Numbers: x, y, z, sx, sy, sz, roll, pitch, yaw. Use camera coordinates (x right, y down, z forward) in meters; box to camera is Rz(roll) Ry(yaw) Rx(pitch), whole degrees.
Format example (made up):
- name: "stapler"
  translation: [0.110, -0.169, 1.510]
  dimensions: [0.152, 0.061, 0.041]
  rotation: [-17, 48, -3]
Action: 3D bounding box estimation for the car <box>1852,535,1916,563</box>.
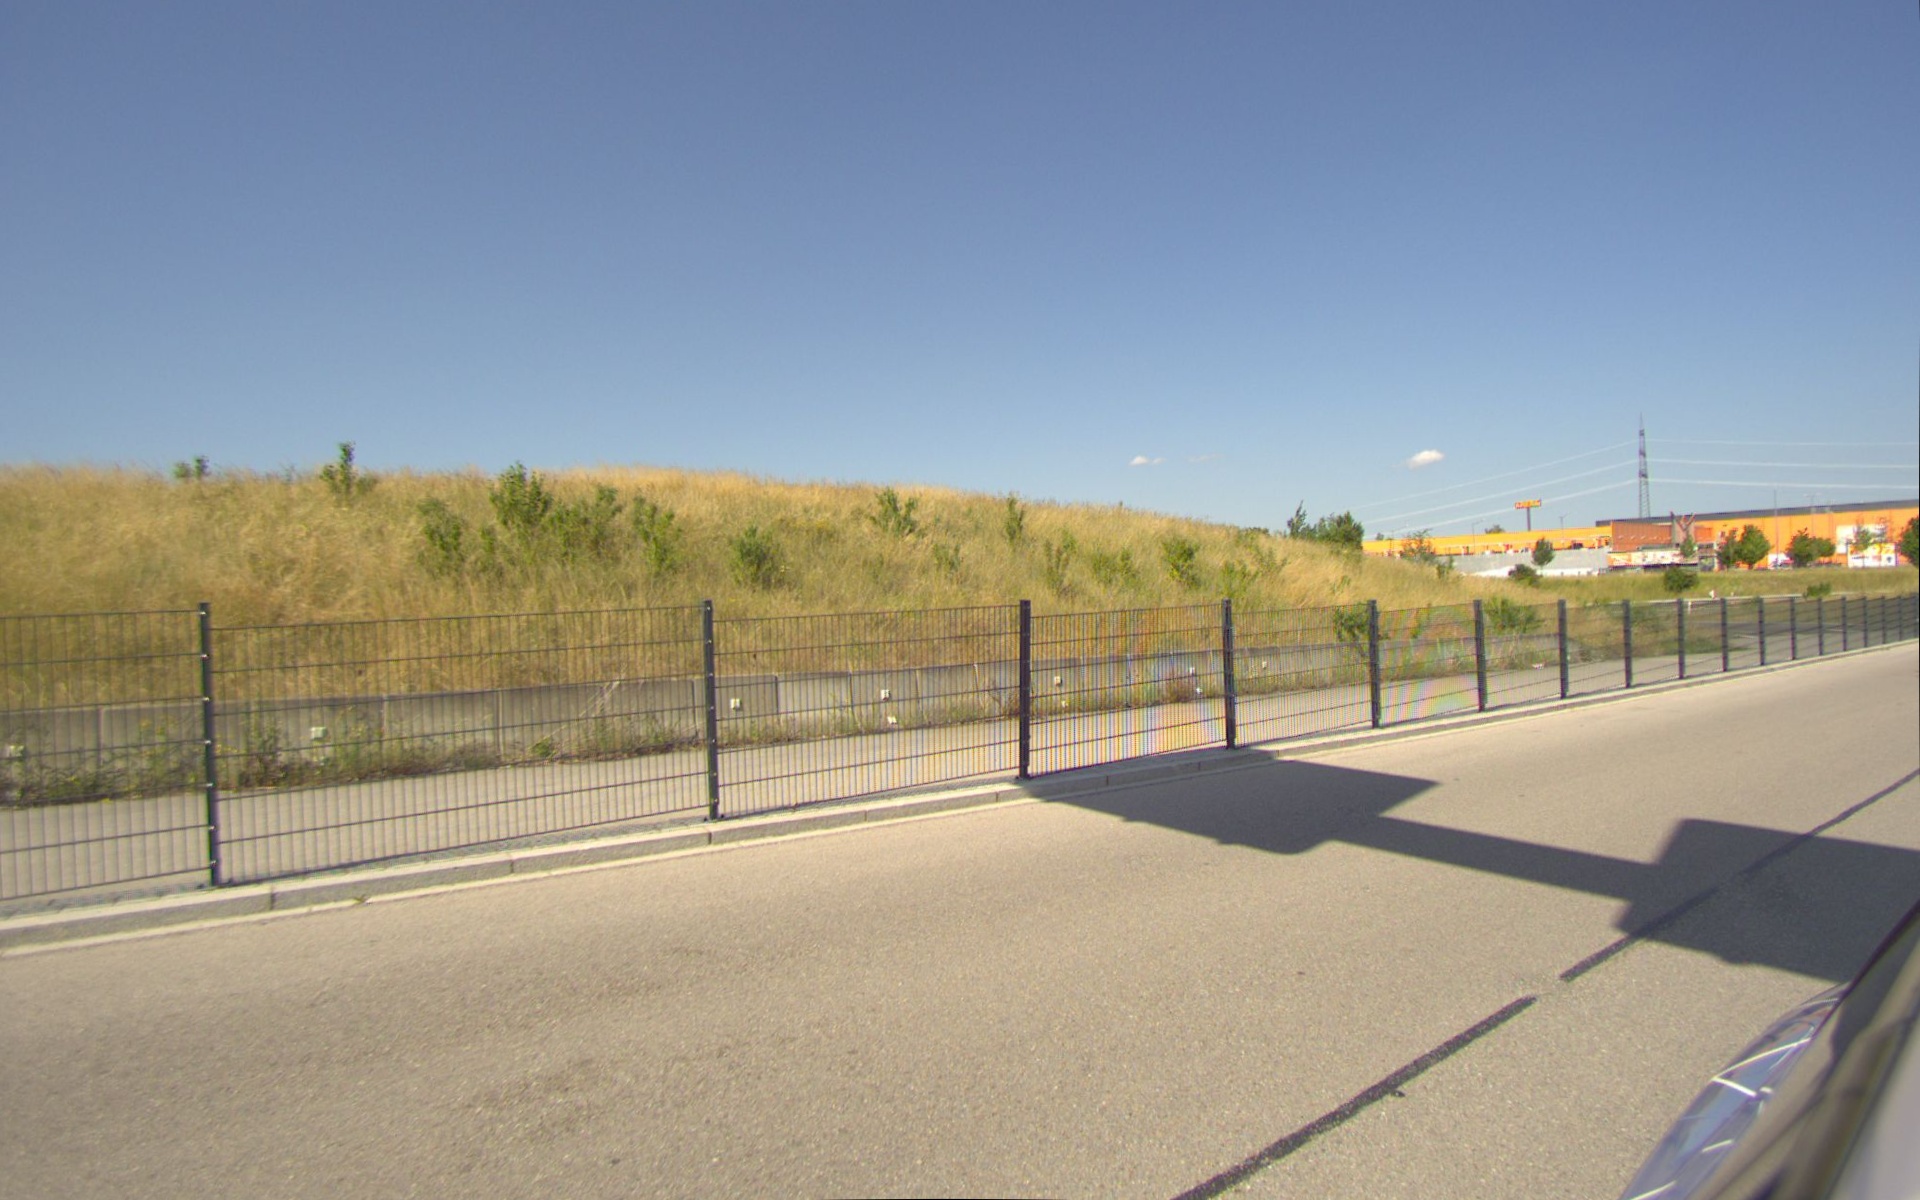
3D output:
- name: "car"
  translation: [93.094, -5.100, 102.005]
  dimensions: [1.967, 2.581, 4.624]
  rotation: [-1, -1, -44]
